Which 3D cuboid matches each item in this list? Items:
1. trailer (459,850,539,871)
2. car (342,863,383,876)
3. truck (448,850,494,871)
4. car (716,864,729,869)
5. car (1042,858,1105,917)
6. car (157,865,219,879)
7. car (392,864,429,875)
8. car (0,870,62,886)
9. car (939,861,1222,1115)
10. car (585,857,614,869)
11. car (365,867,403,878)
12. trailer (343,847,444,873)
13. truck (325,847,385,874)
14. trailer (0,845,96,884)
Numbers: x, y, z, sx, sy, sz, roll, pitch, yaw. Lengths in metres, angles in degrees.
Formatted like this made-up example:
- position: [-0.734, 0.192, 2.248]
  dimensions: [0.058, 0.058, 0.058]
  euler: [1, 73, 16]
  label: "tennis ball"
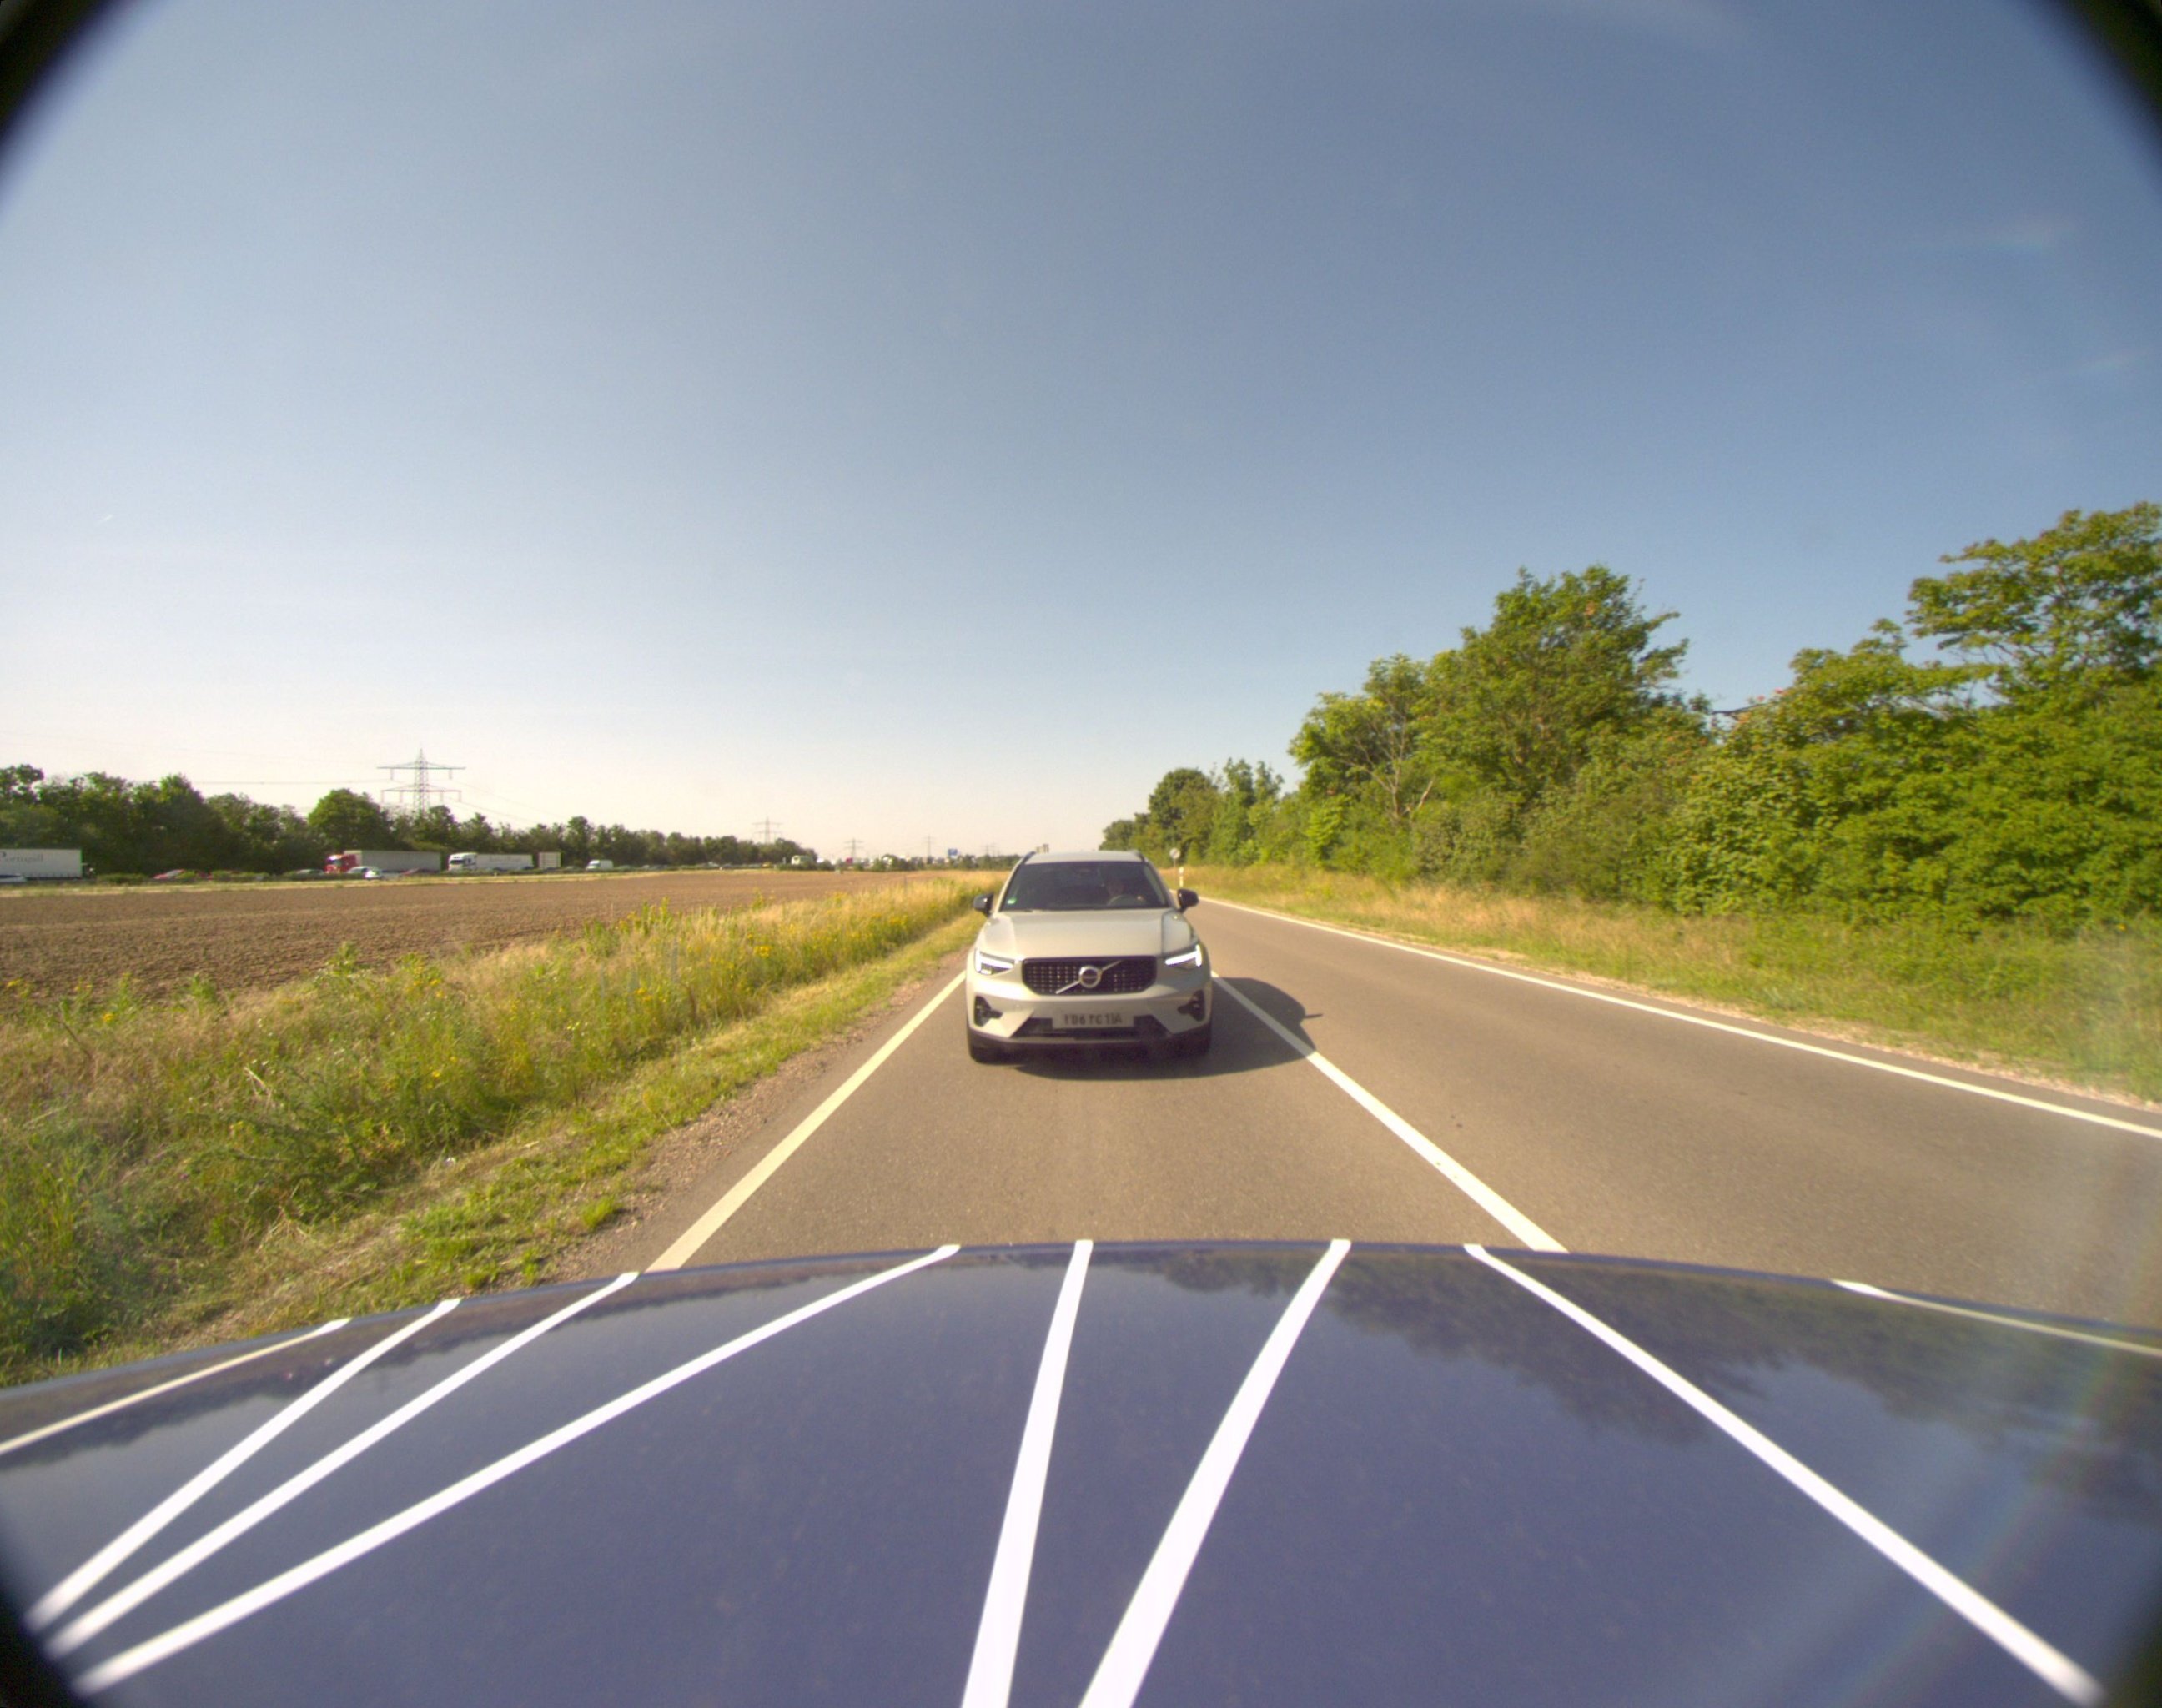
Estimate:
- position: [-104.319, 1.131, 136.752]
  dimensions: [3.211, 3.510, 15.081]
  euler: [0, 0, -2]
  label: "trailer"
- position: [-97.546, 2.029, 103.224]
  dimensions: [1.707, 1.629, 4.093]
  euler: [-2, 0, -2]
  label: "car"
- position: [-104.086, 1.087, 129.759]
  dimensions: [3.211, 3.510, 6.108]
  euler: [0, 0, -2]
  label: "truck"
- position: [-90.841, 3.106, 192.596]
  dimensions: [1.550, 1.227, 3.619]
  euler: [-3, -1, -2]
  label: "car"
- position: [-0.271, 0.982, 23.936]
  dimensions: [1.790, 1.664, 4.000]
  euler: [-1, 0, -2]
  label: "car"
- position: [-97.752, 1.962, 83.235]
  dimensions: [1.855, 1.377, 4.247]
  euler: [-2, -1, -2]
  label: "car"
- position: [-97.657, 2.195, 110.666]
  dimensions: [1.707, 1.500, 4.093]
  euler: [-2, 0, -1]
  label: "car"
- position: [-97.380, 2.158, 69.777]
  dimensions: [1.855, 1.377, 4.247]
  euler: [-2, -1, -2]
  label: "car"
- position: [-0.021, 0.904, 7.105]
  dimensions: [1.840, 1.627, 4.135]
  euler: [-1, 0, -1]
  label: "car"
- position: [-99.607, 1.906, 157.270]
  dimensions: [2.042, 2.432, 6.413]
  euler: [-1, 0, -1]
  label: "car"
- position: [-89.277, 2.383, 97.401]
  dimensions: [1.550, 1.227, 3.619]
  euler: [-3, -1, -2]
  label: "car"
- position: [-104.102, 0.934, 115.537]
  dimensions: [2.953, 3.711, 13.781]
  euler: [-1, 0, -1]
  label: "trailer"
- position: [-103.920, 0.910, 108.808]
  dimensions: [2.953, 3.711, 5.869]
  euler: [-1, 0, -1]
  label: "truck"
- position: [-102.988, 1.028, 71.587]
  dimensions: [3.080, 3.711, 13.366]
  euler: [-1, 0, 0]
  label: "trailer"
